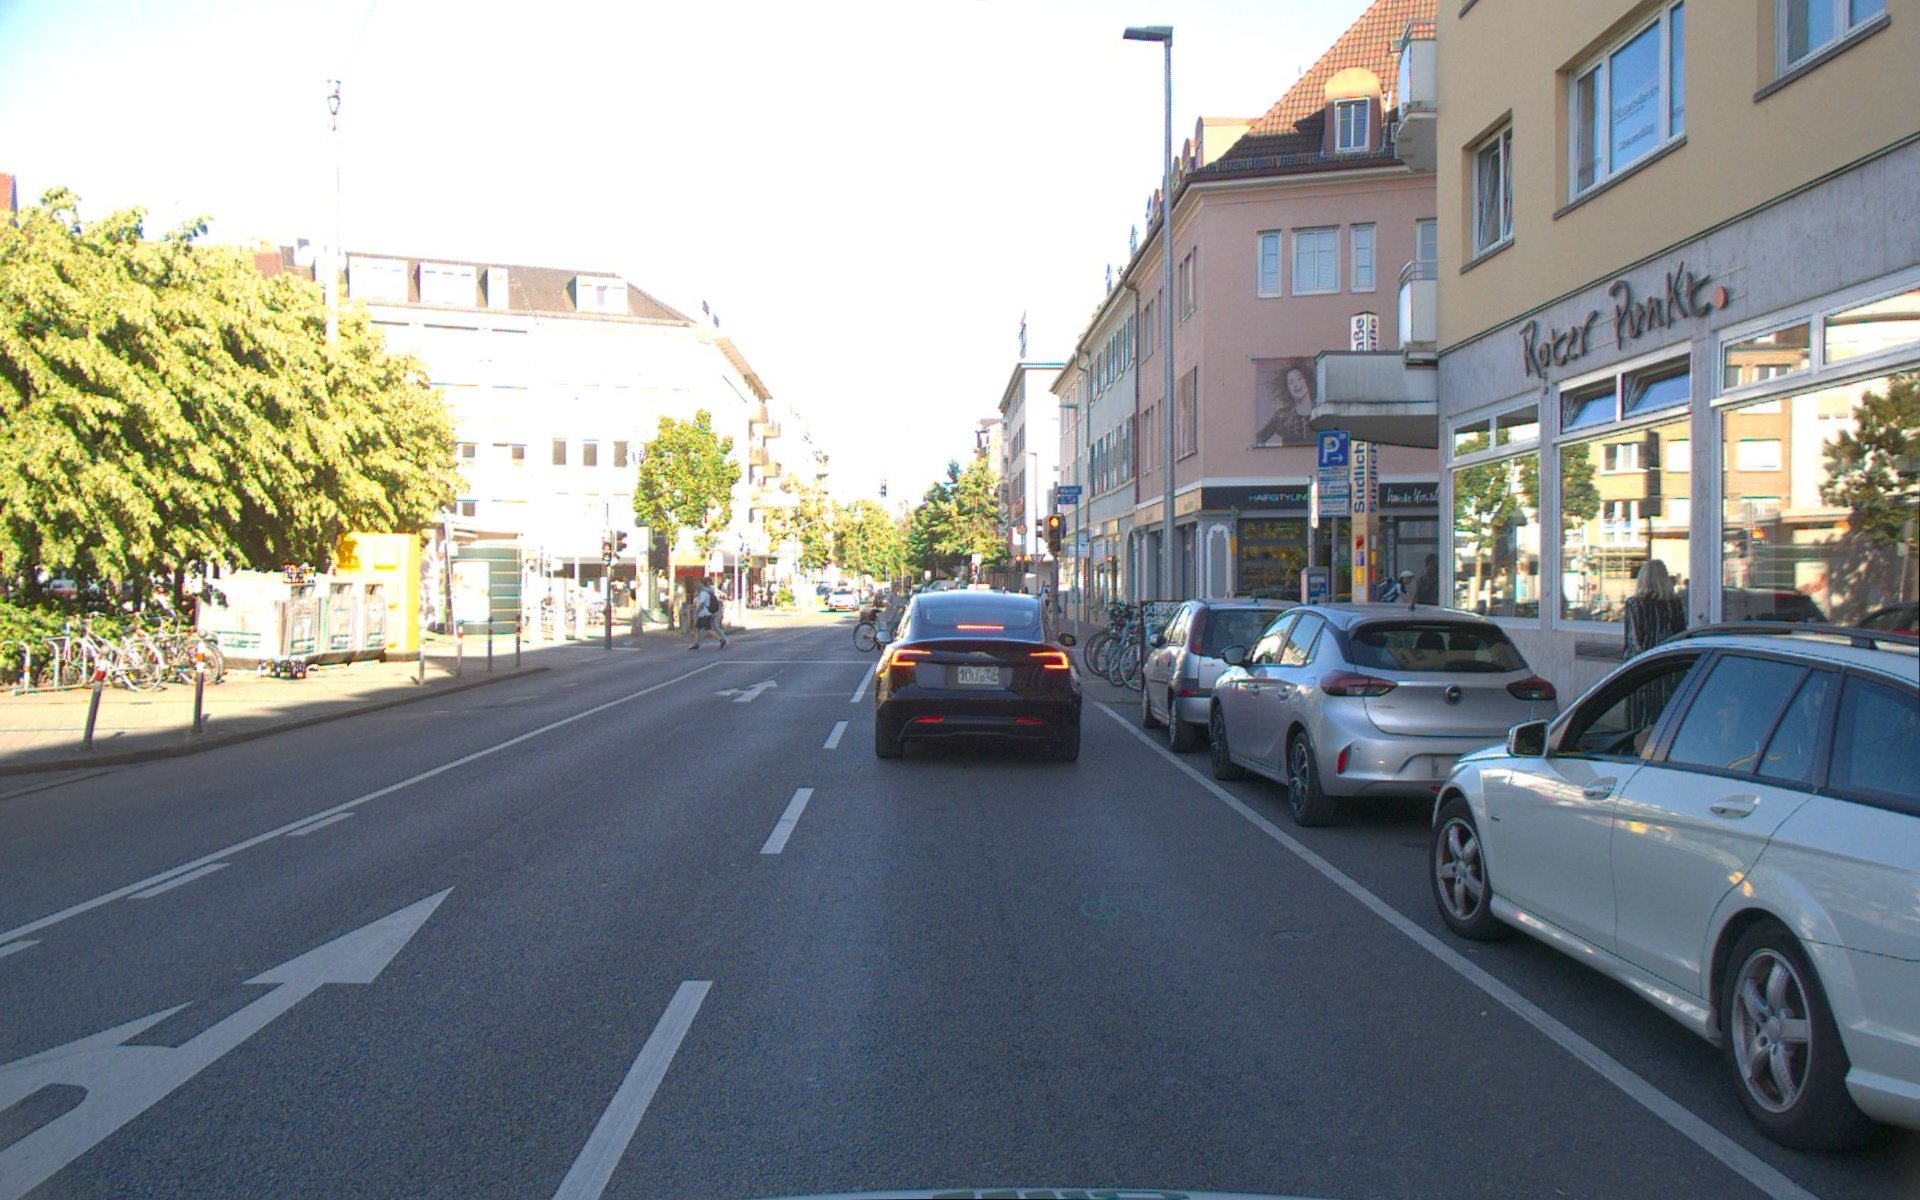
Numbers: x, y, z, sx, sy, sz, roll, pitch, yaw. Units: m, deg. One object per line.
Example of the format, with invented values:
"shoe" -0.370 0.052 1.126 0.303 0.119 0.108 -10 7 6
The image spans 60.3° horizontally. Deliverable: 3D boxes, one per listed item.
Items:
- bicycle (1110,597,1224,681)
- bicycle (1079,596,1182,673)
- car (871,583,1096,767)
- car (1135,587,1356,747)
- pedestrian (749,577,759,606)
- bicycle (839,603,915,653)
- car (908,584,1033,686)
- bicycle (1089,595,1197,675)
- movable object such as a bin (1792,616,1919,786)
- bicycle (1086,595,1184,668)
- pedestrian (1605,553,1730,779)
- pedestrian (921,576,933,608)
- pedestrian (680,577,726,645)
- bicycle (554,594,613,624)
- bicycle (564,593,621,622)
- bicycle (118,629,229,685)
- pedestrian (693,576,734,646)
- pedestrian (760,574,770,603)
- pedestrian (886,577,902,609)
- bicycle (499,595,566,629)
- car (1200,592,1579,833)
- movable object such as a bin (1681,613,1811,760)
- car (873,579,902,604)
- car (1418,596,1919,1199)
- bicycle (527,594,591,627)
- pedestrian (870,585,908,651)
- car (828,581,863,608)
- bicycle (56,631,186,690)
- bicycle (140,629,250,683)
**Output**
"bicycle" 3.060 0.570 24.500 1.595 1.180 0.432 -2 0 -2
"bicycle" 2.768 0.555 26.929 1.595 1.180 0.432 -2 0 -2
"car" 0.201 0.589 15.330 1.812 1.480 3.786 0 1 0
"car" 2.781 0.588 16.841 1.588 1.419 3.886 0 1 0
"pedestrian" -14.196 -0.588 113.932 0.613 2.049 0.707 0 0 -1
"bicycle" -1.838 0.620 36.792 1.581 1.063 0.591 1 0 8
"car" 0.159 0.497 26.063 1.812 1.480 3.786 0 1 0
"bicycle" 2.837 0.541 25.725 1.595 1.180 0.432 -2 0 -2
"movable object such as a bin" 6.224 0.673 11.338 0.688 1.086 0.619 -3 0 -1
"bicycle" 2.951 0.533 27.998 1.594 1.180 0.433 -2 0 0
"pedestrian" 5.391 0.495 12.632 0.648 1.661 0.628 -2 0 4
"pedestrian" -2.107 -0.510 105.462 0.614 2.049 0.559 1 0 24
"pedestrian" -6.333 0.268 40.806 0.965 1.665 0.737 1 0 3
"bicycle" -14.352 0.345 63.042 2.040 1.123 0.806 0 0 -1
"bicycle" -14.484 0.287 65.234 2.040 1.123 0.806 0 0 -1
"bicycle" -11.620 0.834 24.452 1.442 0.782 0.441 1 0 4
"pedestrian" -6.208 0.269 41.662 0.882 1.755 0.744 1 0 3
"pedestrian" -13.446 -0.789 113.963 0.613 2.049 0.575 0 0 -1
"pedestrian" -4.267 -0.441 107.163 0.742 2.049 0.792 0 0 -26
"bicycle" -14.414 0.394 55.746 2.040 1.123 0.806 0 0 -1
"car" 2.925 0.680 12.154 1.636 1.452 4.076 0 1 -1
"movable object such as a bin" 6.185 0.669 13.036 0.688 1.086 0.619 -3 0 -1
"car" -5.303 -0.630 121.673 2.009 1.757 4.652 0 1 -2
"car" 3.126 0.743 5.786 1.703 1.472 4.463 0 1 -2
"bicycle" -14.108 0.365 58.270 2.040 1.123 0.806 0 0 -1
"pedestrian" -1.590 0.405 37.293 0.727 1.465 0.583 1 0 10
"car" -7.362 -0.374 106.963 1.953 1.567 4.000 -3 1 -1
"bicycle" -11.697 0.838 23.069 1.621 0.782 0.475 1 0 8
"bicycle" -11.572 0.841 25.029 1.442 0.782 0.475 1 0 2
